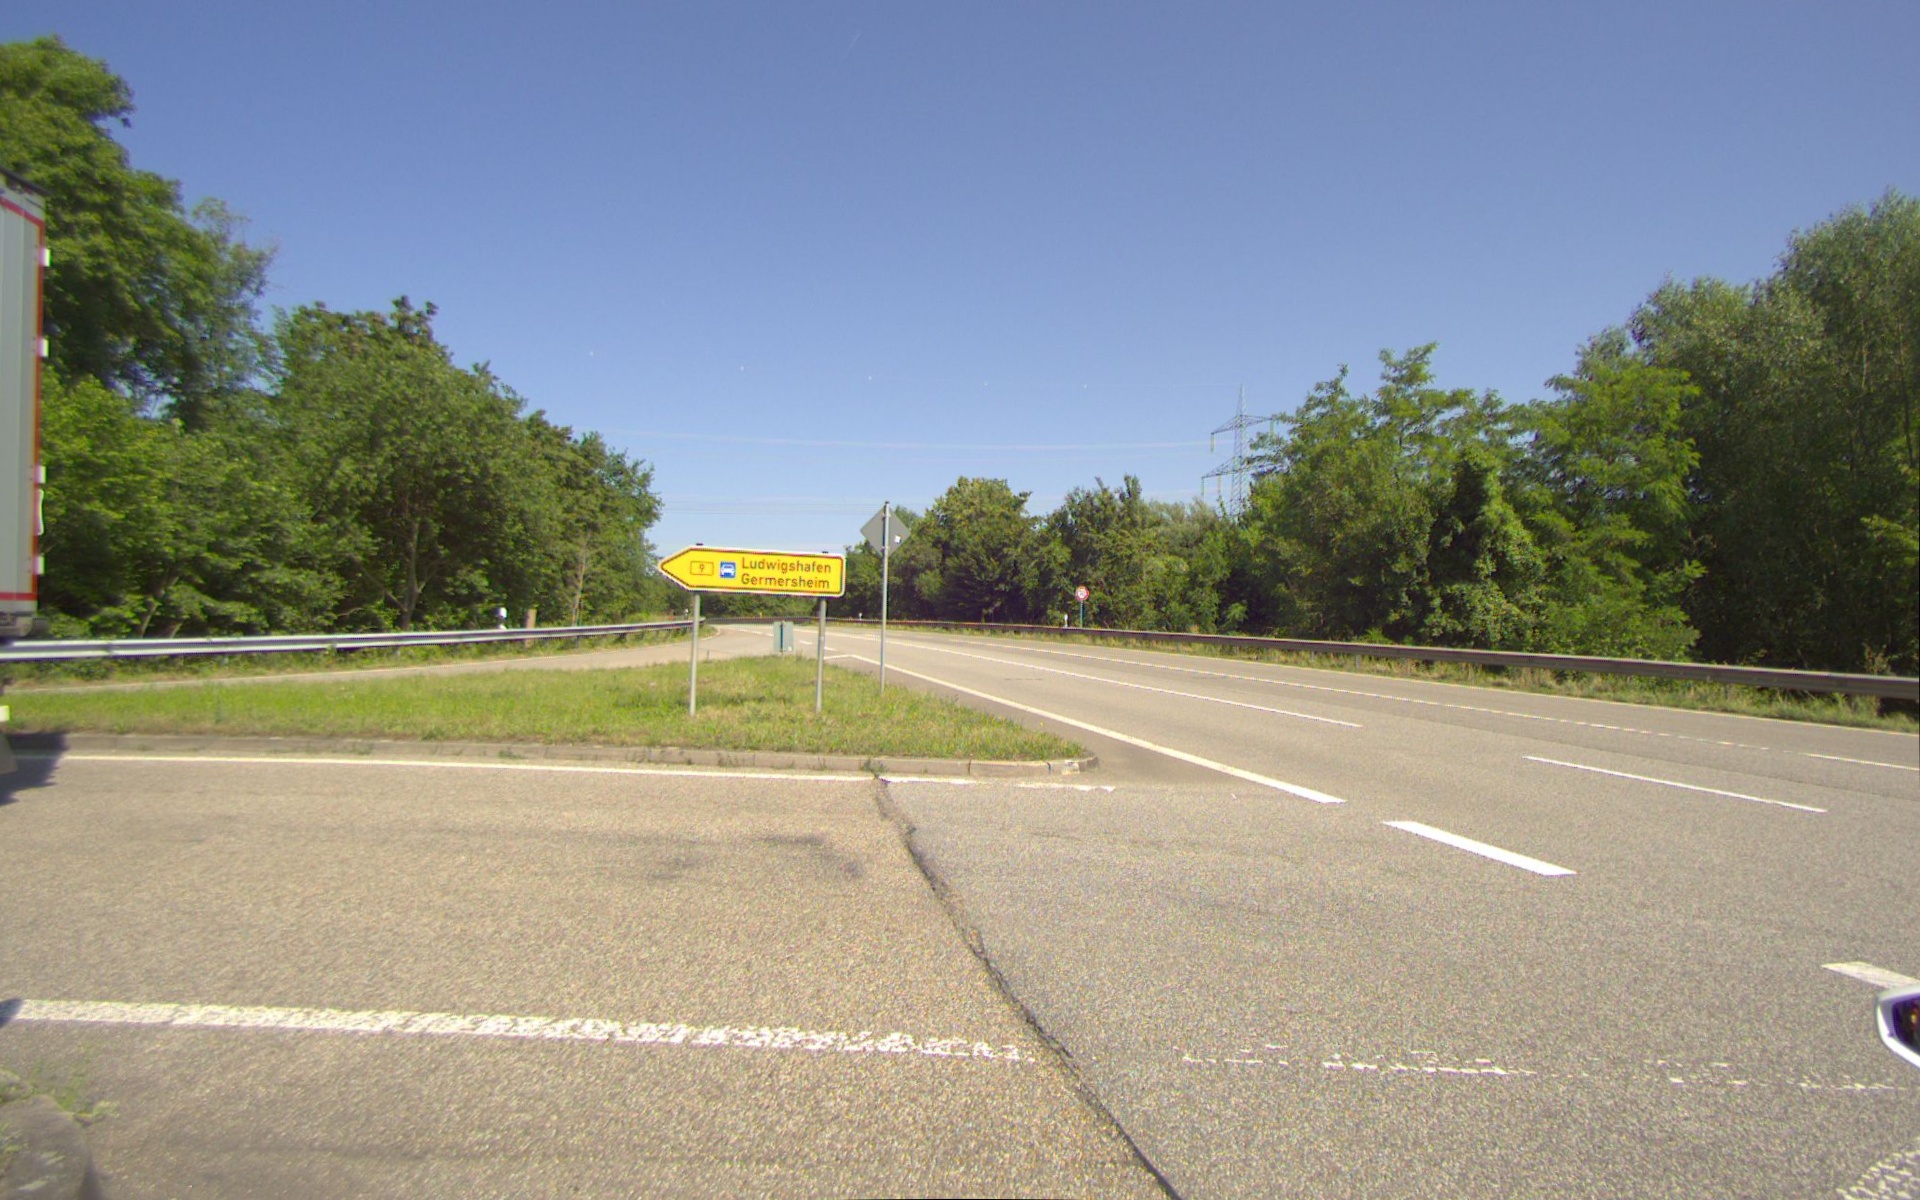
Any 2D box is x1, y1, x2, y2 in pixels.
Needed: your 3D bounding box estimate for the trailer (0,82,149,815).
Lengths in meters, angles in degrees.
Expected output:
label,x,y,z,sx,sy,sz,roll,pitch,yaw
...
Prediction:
label,x,y,z,sx,sy,sz,roll,pitch,yaw
trailer,-12.276,-1.004,4.436,13.730,4.221,2.891,1,0,-10
